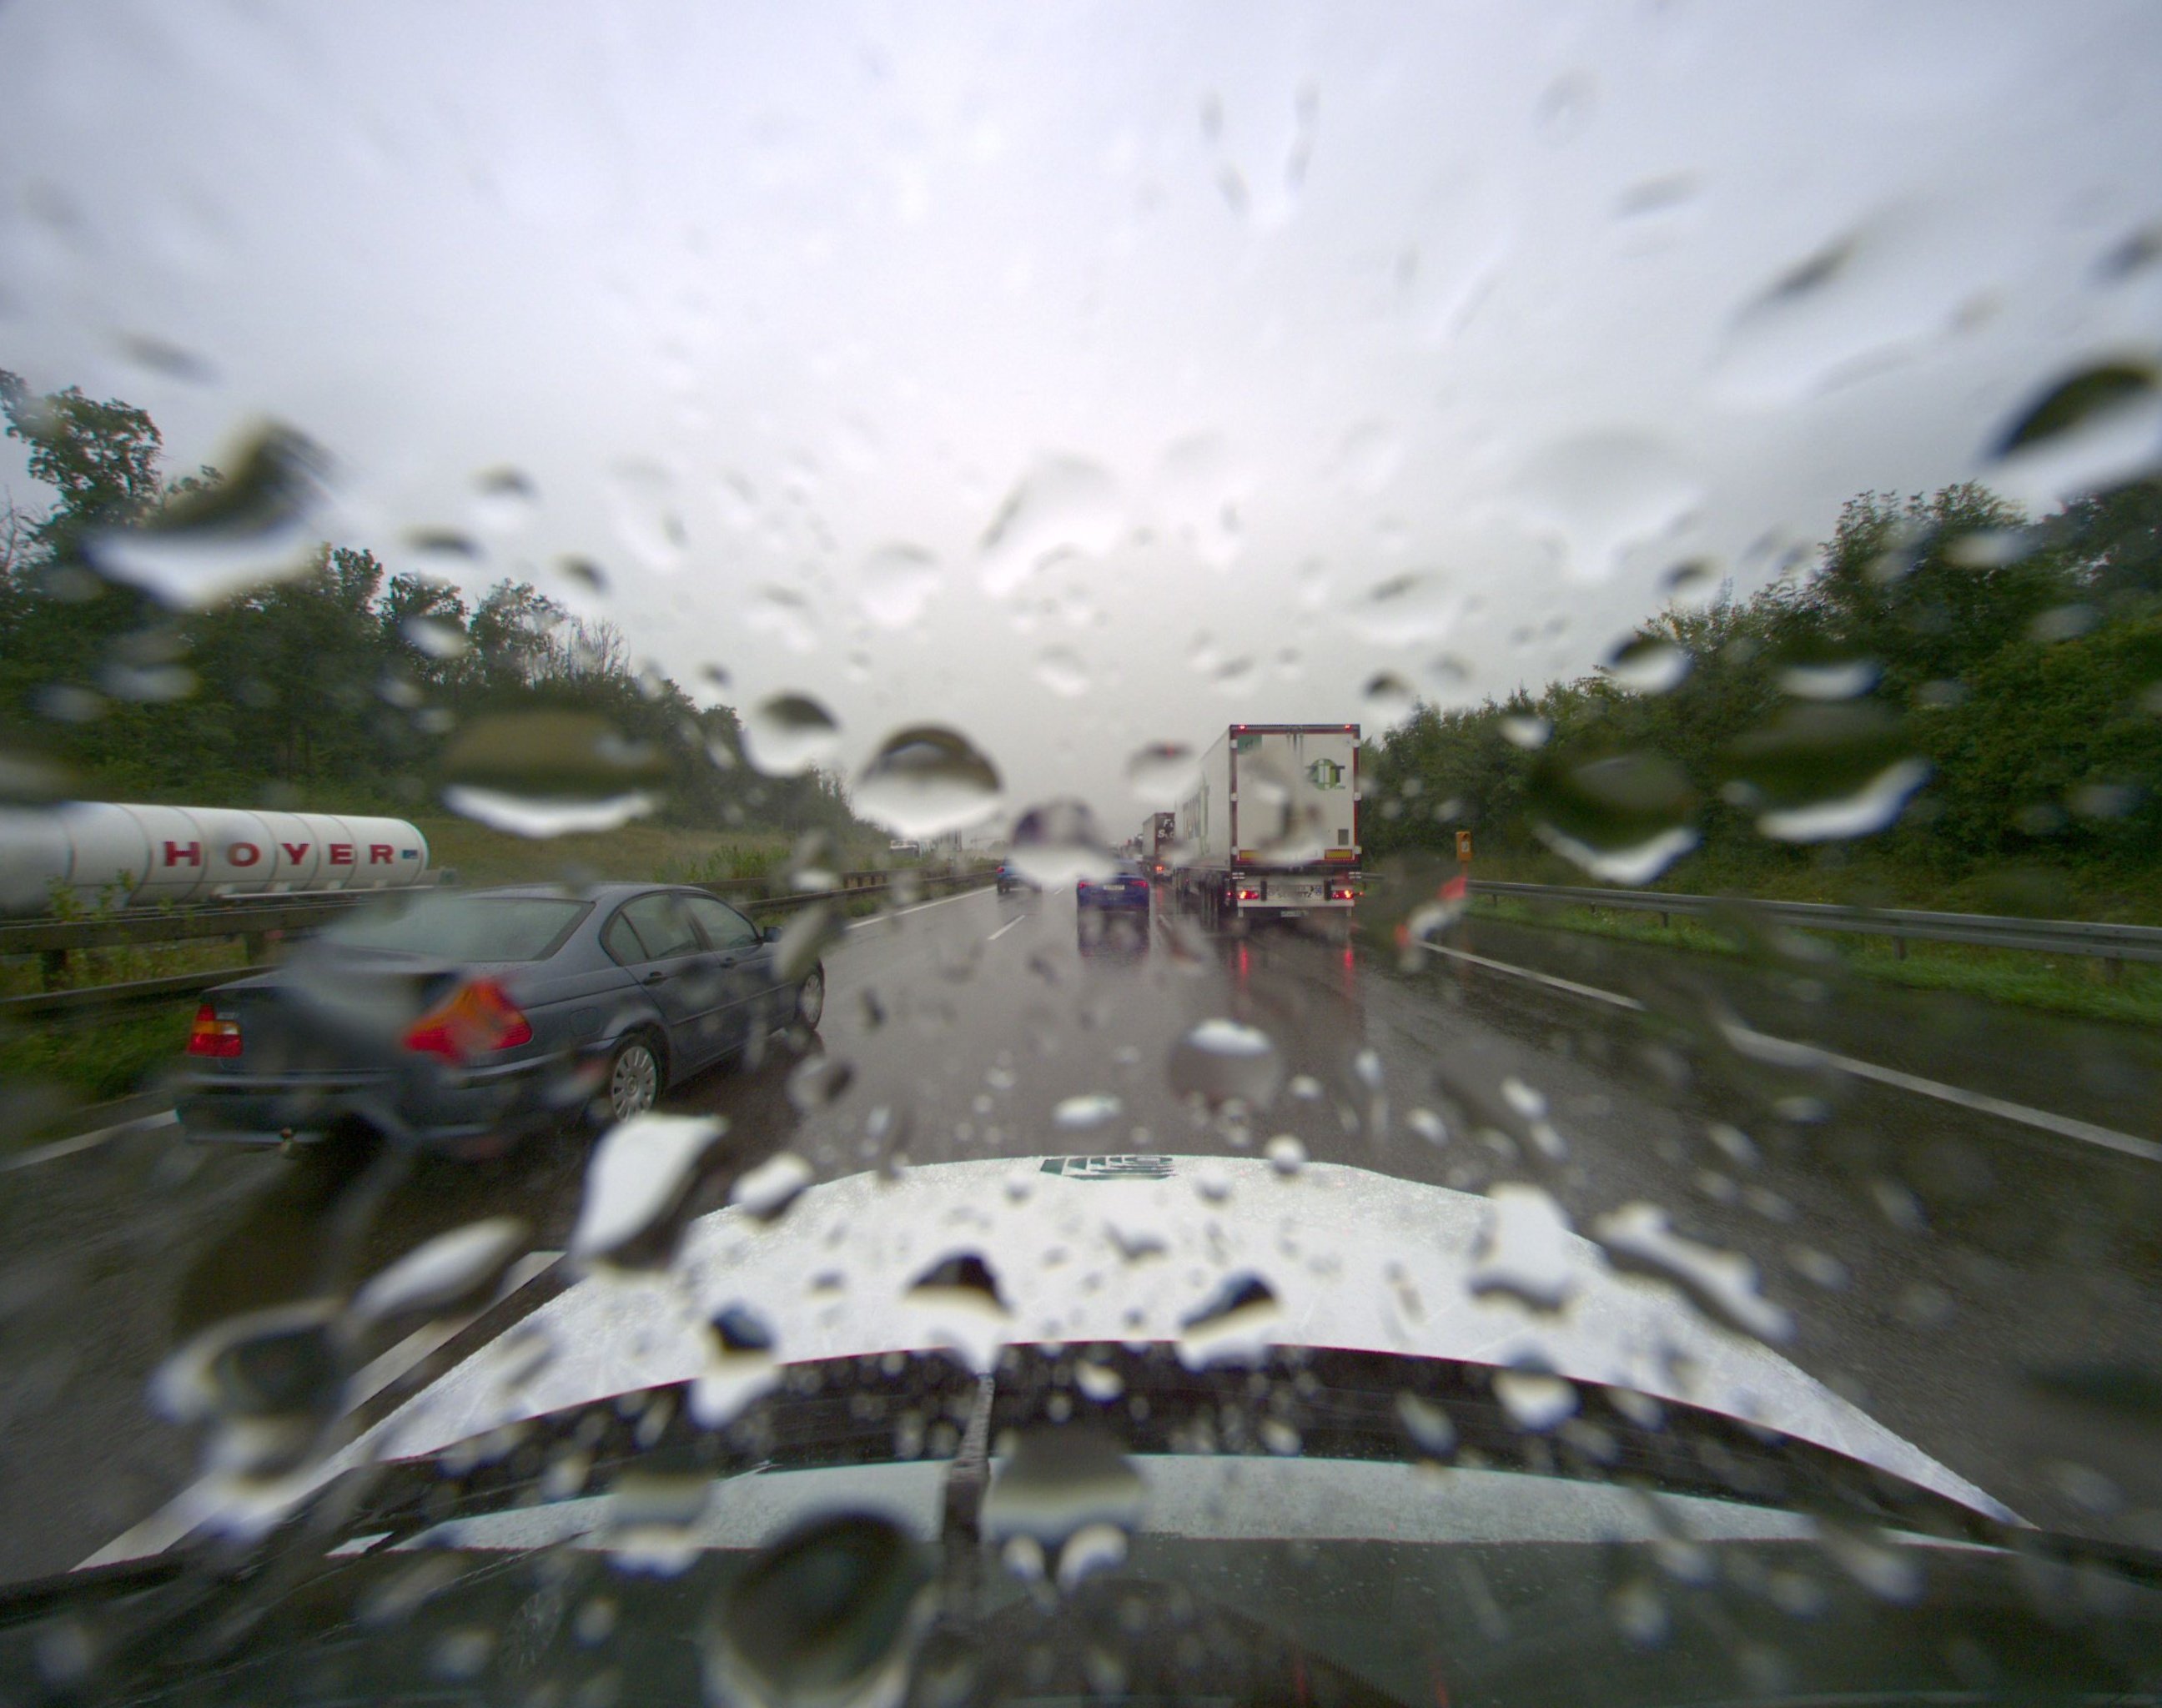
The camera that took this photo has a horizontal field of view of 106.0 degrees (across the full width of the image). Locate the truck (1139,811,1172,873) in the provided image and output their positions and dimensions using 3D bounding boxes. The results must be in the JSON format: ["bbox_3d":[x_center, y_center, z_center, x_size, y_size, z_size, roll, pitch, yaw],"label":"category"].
[{"bbox_3d":[5.220,-0.843,57.469,2.039,4.193,4.002,-1,0,2],"label":"truck"}]

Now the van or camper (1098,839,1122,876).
[{"bbox_3d":[2.318,0.262,64.682,1.790,2.806,4.770,-1,0,2],"label":"van or camper"}]

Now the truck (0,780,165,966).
[{"bbox_3d":[-20.310,0.399,14.260,2.532,3.280,5.199,-3,-1,1],"label":"truck"}]

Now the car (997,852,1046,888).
[{"bbox_3d":[-2.626,0.683,36.803,1.715,1.523,4.003,-1,0,3],"label":"car"}]

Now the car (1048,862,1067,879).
[{"bbox_3d":[-2.023,1.400,71.179,1.434,1.420,3.323,-1,0,2],"label":"car"}]

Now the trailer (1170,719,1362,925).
[{"bbox_3d":[4.447,-0.645,23.410,2.620,4.013,14.635,-1,0,2],"label":"trailer"}]

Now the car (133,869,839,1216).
[{"bbox_3d":[-3.205,0.852,5.638,1.712,1.400,4.230,-1,0,1],"label":"car"}]

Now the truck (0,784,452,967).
[{"bbox_3d":[-20.165,0.542,19.542,2.545,3.298,9.351,-3,-1,2],"label":"truck"}]

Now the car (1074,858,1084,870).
[{"bbox_3d":[-0.275,1.493,124.129,1.443,1.784,3.410,-1,0,2],"label":"car"}]

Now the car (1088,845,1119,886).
[{"bbox_3d":[1.038,0.519,37.353,1.332,1.780,3.323,-1,0,2],"label":"car"}]

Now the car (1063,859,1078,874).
[{"bbox_3d":[-1.062,1.324,86.259,1.434,1.533,3.323,-1,0,2],"label":"car"}]

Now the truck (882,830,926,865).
[{"bbox_3d":[-14.934,-0.490,69.051,2.471,2.719,4.530,-3,-2,3],"label":"truck"}]

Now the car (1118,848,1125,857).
[{"bbox_3d":[8.534,-0.243,173.151,1.331,1.890,3.041,-2,0,2],"label":"car"}]

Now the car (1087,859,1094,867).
[{"bbox_3d":[2.234,2.008,186.841,1.443,1.784,3.410,-1,0,2],"label":"car"}]

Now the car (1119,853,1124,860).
[{"bbox_3d":[11.320,0.649,227.494,1.443,1.784,3.410,-1,0,2],"label":"car"}]

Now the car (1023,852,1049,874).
[{"bbox_3d":[-2.973,0.570,54.089,1.354,1.431,3.365,-1,0,2],"label":"car"}]

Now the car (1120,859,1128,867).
[{"bbox_3d":[7.887,1.651,149.692,1.244,1.512,3.109,-2,1,2],"label":"car"}]

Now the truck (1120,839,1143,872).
[{"bbox_3d":[5.351,0.122,87.137,1.987,3.421,8.033,-1,0,1],"label":"truck"}]

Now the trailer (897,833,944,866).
[{"bbox_3d":[-14.643,-0.341,74.883,2.471,2.719,7.328,-3,-1,3],"label":"trailer"}]

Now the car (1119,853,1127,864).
[{"bbox_3d":[7.113,0.786,138.122,1.443,1.784,3.410,-1,0,2],"label":"car"}]

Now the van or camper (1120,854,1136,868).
[{"bbox_3d":[5.548,0.821,96.717,1.765,1.625,4.486,-1,0,2],"label":"van or camper"}]

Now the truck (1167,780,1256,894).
[{"bbox_3d":[4.674,-0.573,30.055,2.620,3.827,4.793,-1,0,2],"label":"truck"}]

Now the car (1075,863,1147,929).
[{"bbox_3d":[0.787,0.986,20.673,1.629,1.445,4.003,-1,0,3],"label":"car"}]

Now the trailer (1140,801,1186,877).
[{"bbox_3d":[4.987,-0.827,50.981,2.039,4.176,11.453,-1,0,2],"label":"trailer"}]
